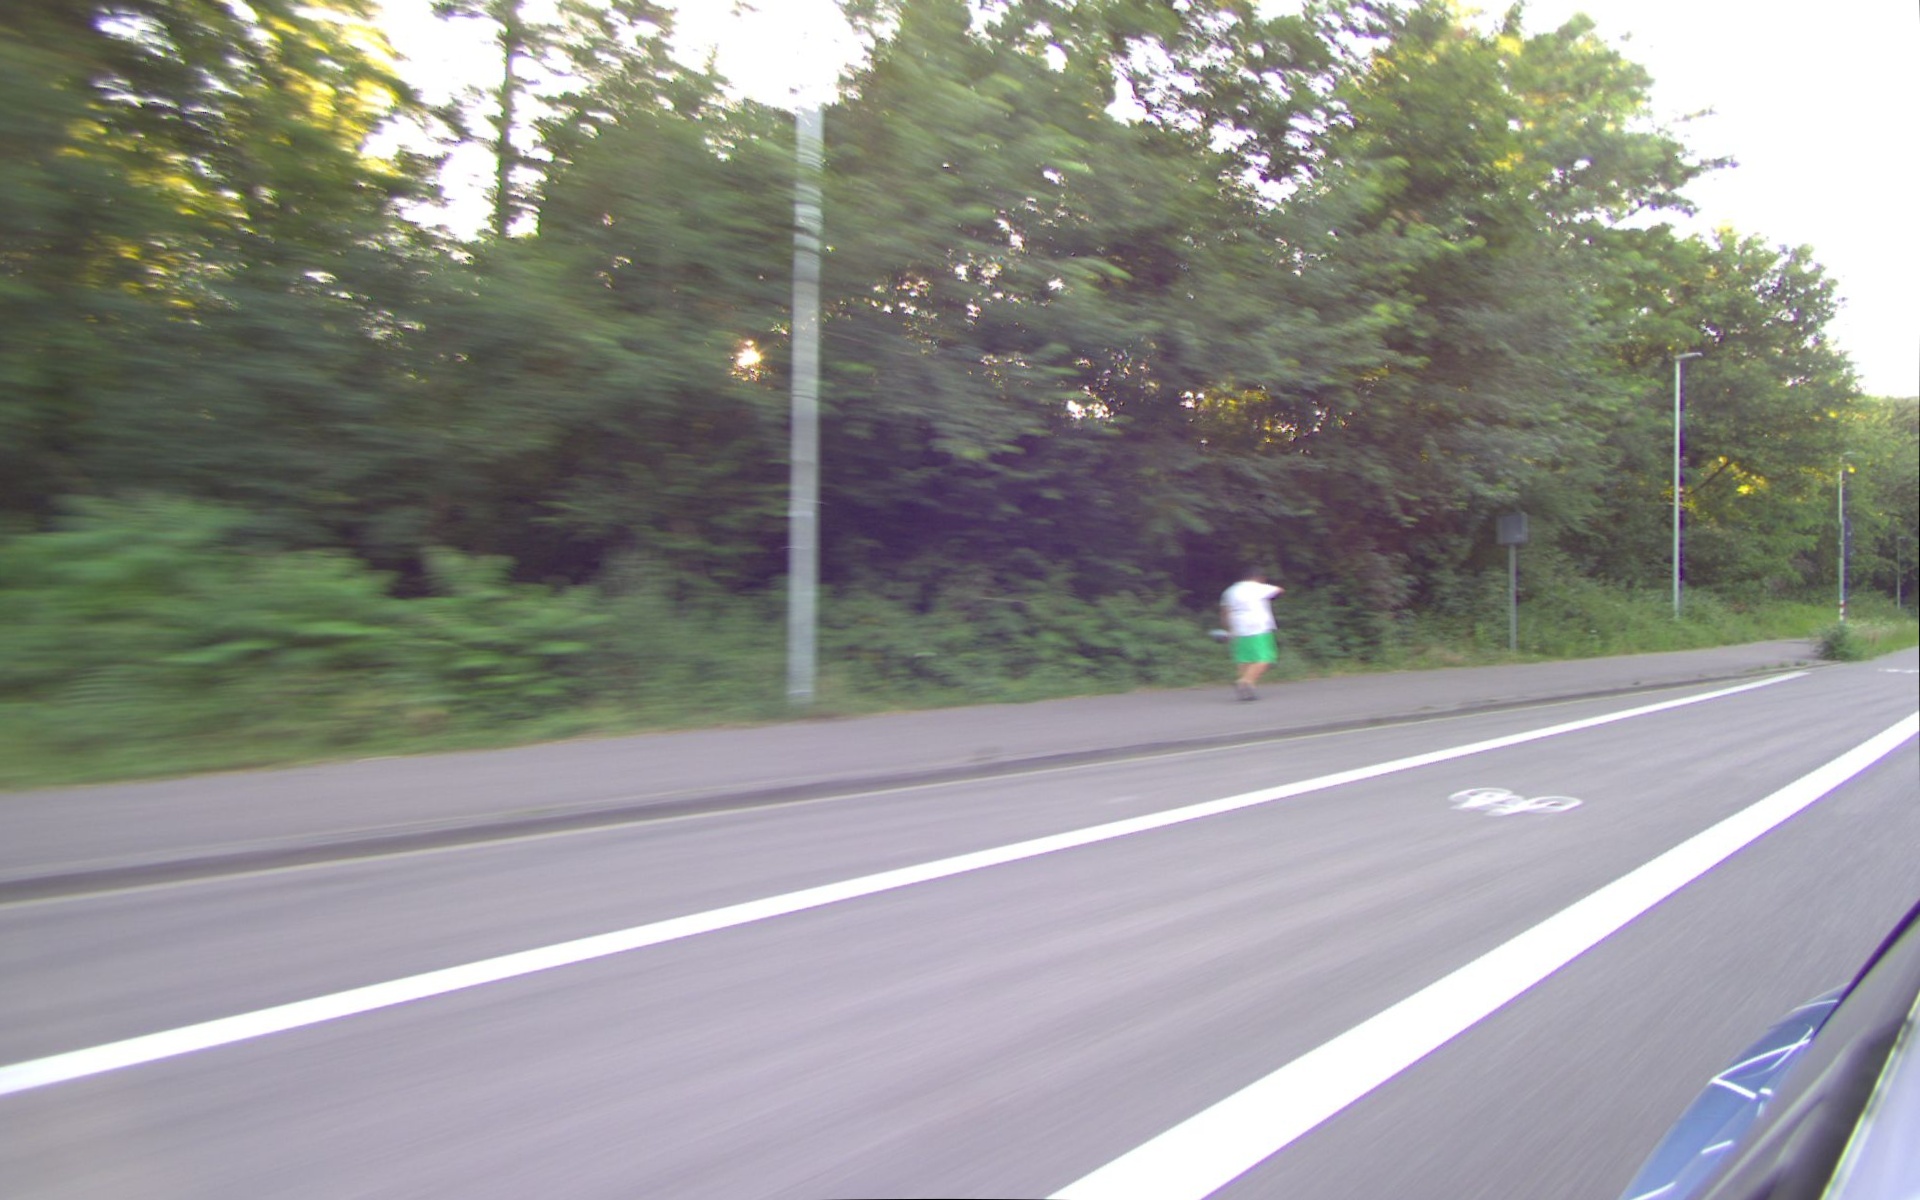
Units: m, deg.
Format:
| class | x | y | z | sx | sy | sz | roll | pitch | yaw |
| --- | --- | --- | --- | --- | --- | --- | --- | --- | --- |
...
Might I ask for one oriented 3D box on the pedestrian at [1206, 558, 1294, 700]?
| class | x | y | z | sx | sy | sz | roll | pitch | yaw |
| --- | --- | --- | --- | --- | --- | --- | --- | --- | --- |
| pedestrian | 3.781 | 0.356 | 13.220 | 0.713 | 1.773 | 0.840 | 0 | 1 | -39 |
